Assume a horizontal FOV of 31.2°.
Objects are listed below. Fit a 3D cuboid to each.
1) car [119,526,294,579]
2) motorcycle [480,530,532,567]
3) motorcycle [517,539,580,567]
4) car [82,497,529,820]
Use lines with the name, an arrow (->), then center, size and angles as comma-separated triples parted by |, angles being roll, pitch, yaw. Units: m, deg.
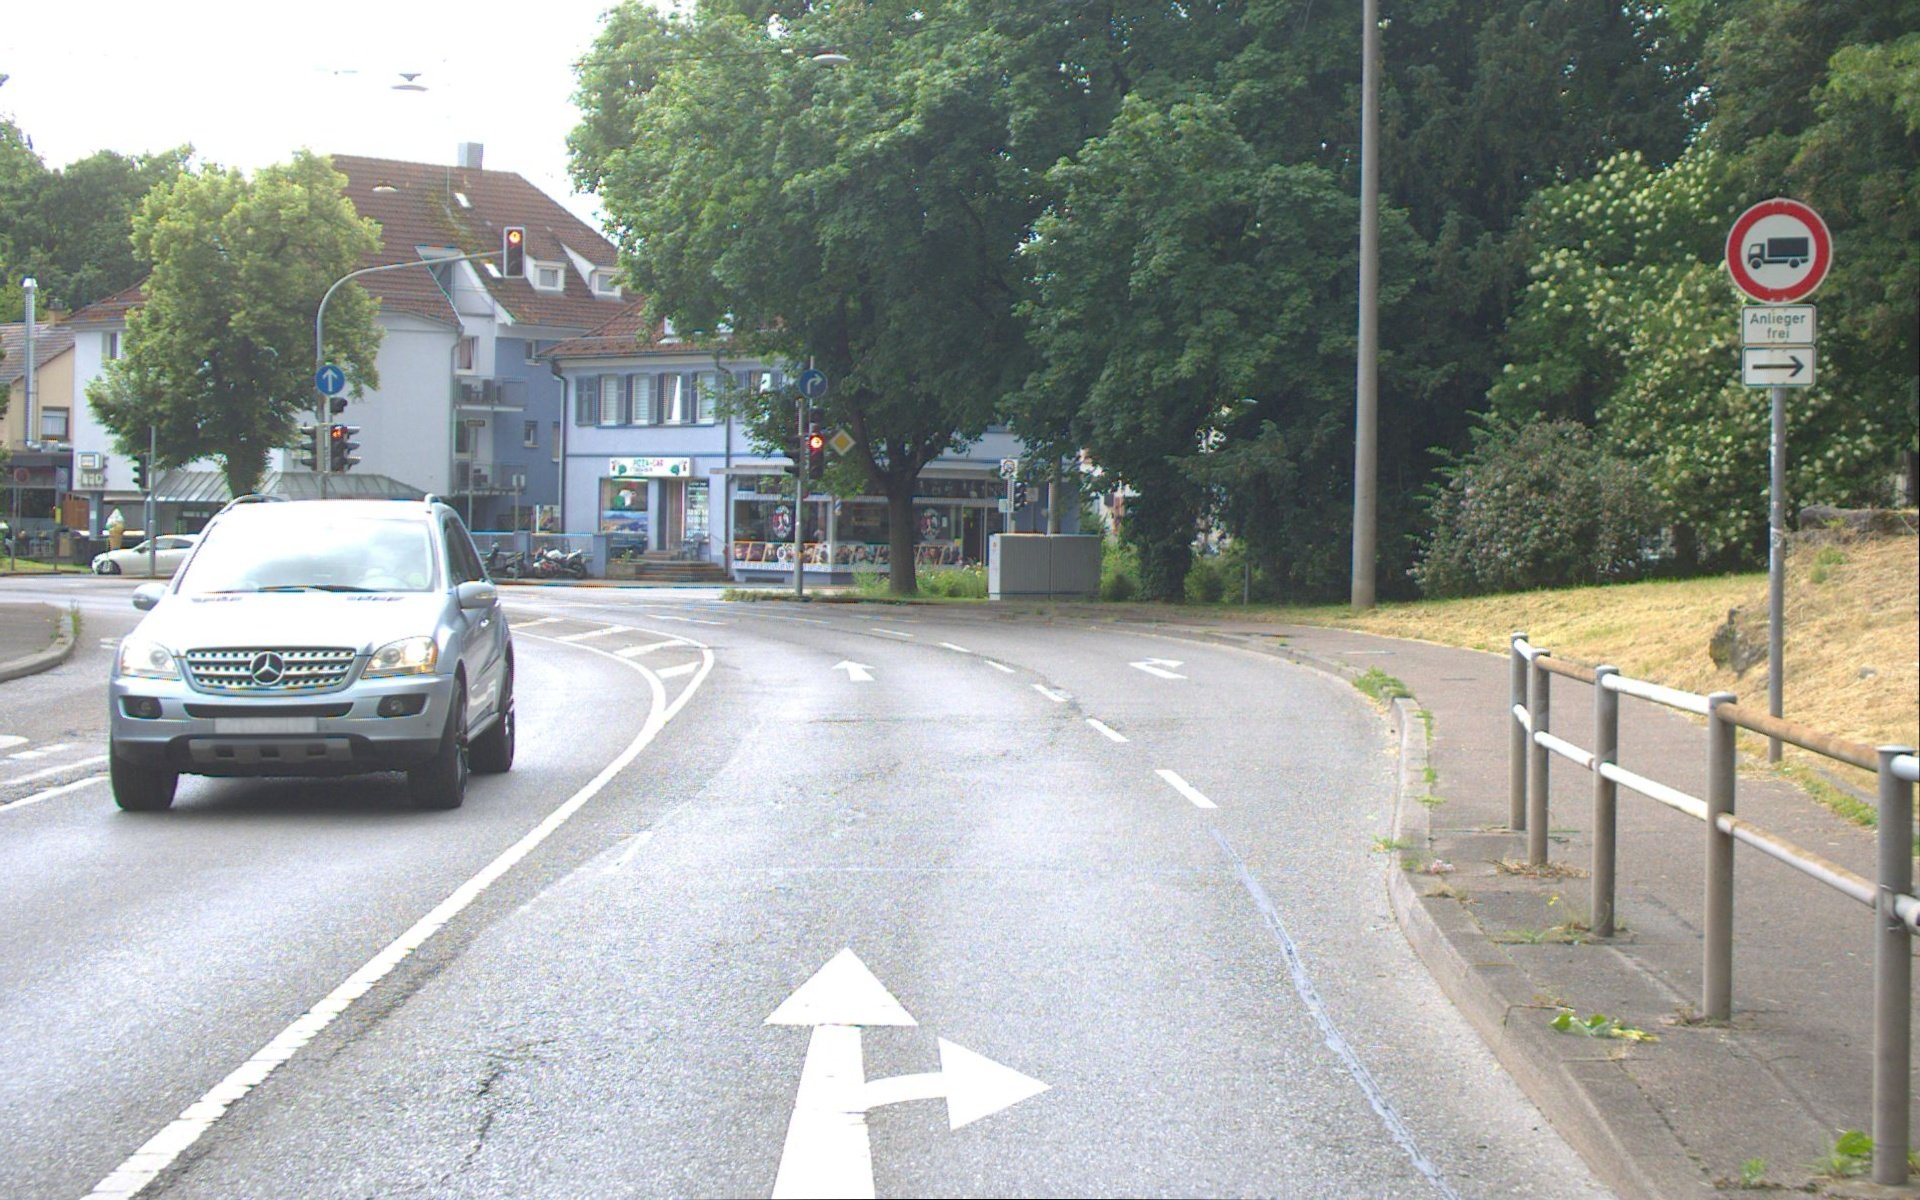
car -> -22.010, -1.391, 100.496 | 4.580, 1.512, 1.999 | 0, 1, 14
motorcycle -> -14.305, -1.623, 108.274 | 1.496, 1.103, 0.560 | 0, 6, 12
motorcycle -> -12.823, -1.466, 107.050 | 1.837, 0.845, 0.560 | 0, 6, 16
car -> -3.769, 0.259, 20.624 | 1.935, 1.718, 4.693 | 0, 1, -2
